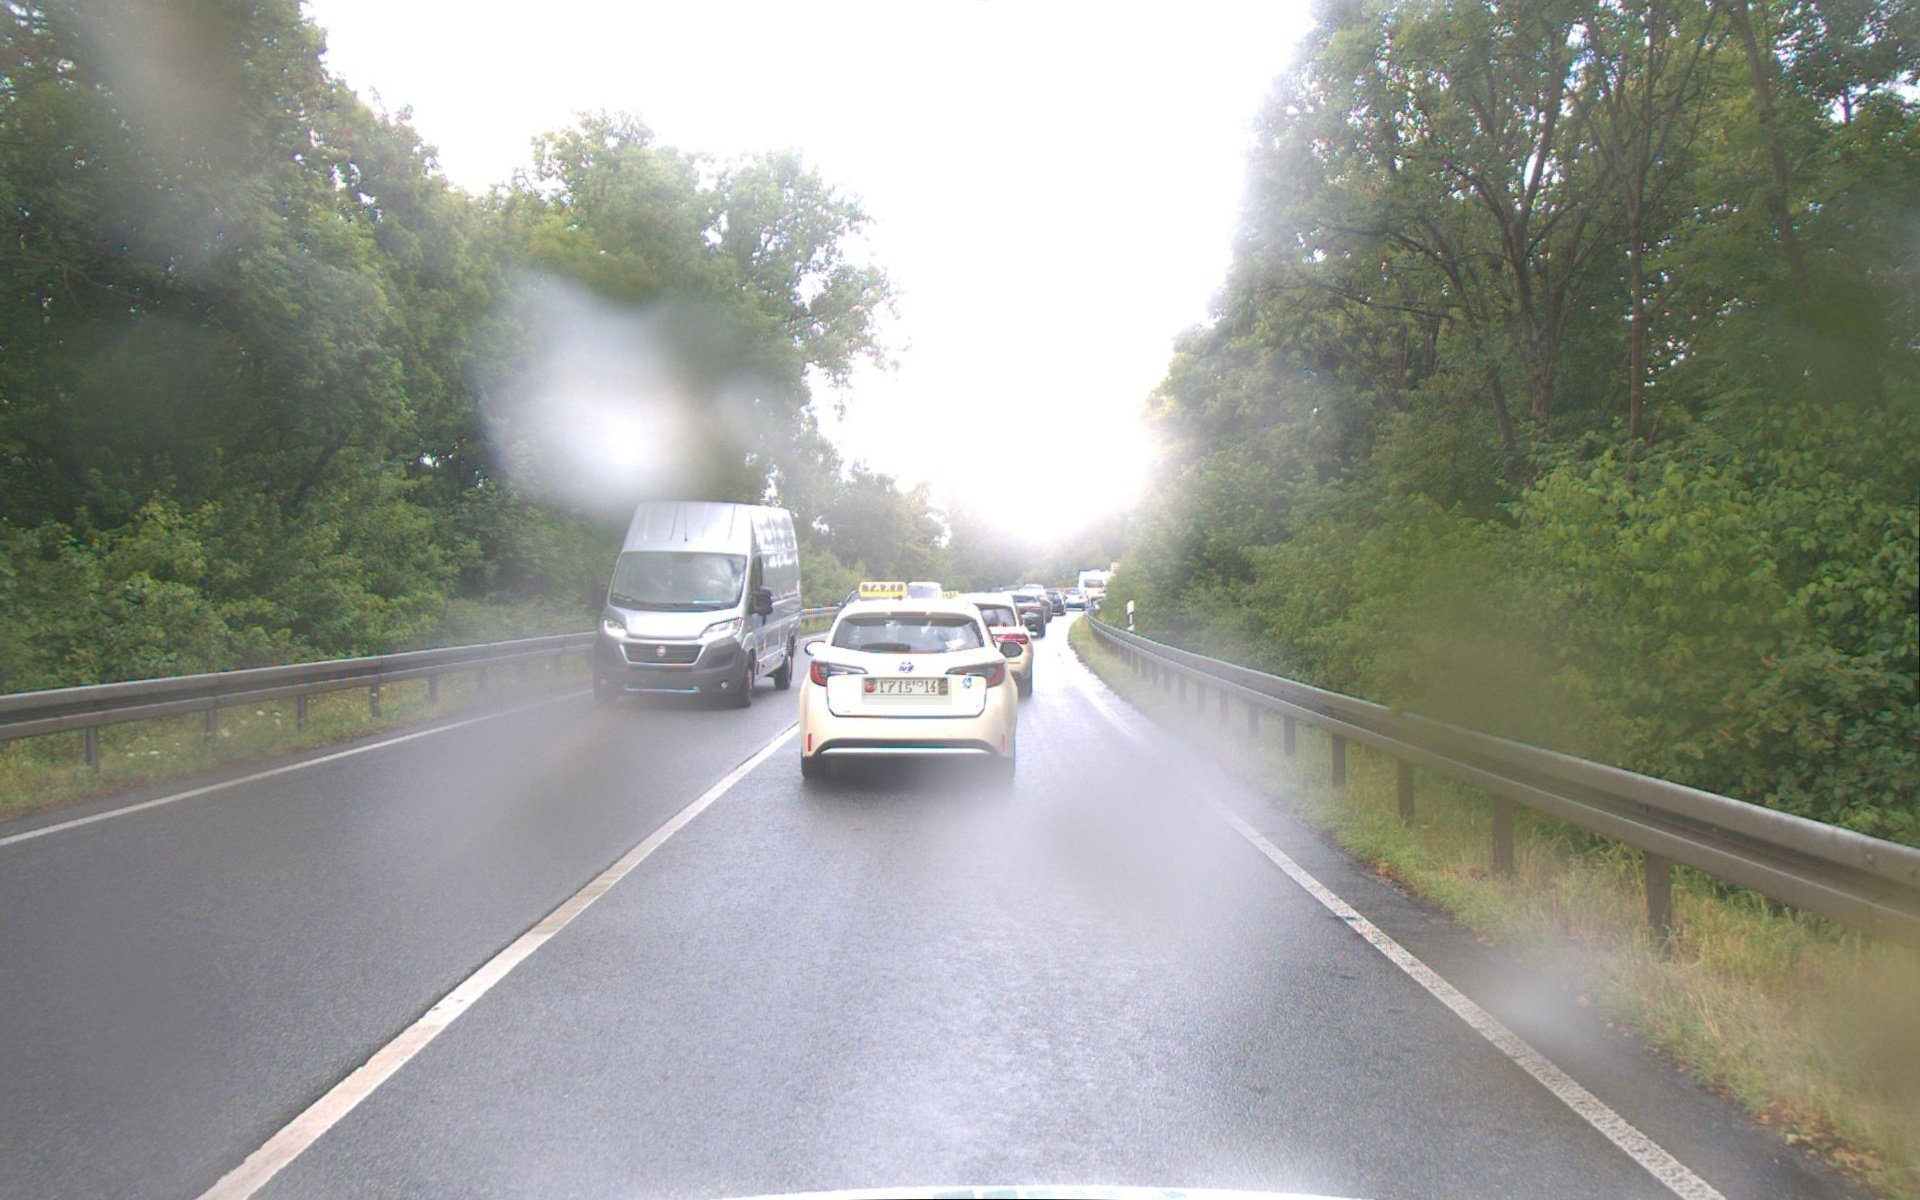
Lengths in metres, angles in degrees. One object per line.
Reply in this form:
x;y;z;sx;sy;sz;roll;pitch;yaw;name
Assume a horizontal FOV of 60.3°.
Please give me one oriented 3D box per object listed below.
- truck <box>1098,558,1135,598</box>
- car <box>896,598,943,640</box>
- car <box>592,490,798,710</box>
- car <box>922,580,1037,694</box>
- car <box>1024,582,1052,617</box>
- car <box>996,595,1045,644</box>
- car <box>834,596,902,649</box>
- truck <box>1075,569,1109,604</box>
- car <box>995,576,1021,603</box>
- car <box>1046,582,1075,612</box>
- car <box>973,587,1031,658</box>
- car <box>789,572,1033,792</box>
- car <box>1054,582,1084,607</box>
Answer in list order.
15.617;-2.126;164.735;3.041;3.745;7.006;1;-1;11;truck
-1.711;0.804;70.784;1.777;1.715;4.623;1;0;1;car
-3.604;0.021;23.698;2.006;2.723;6.170;0;0;-1;car
0.318;0.549;25.669;1.633;1.608;3.892;1;0;1;car
3.556;-0.011;75.810;1.143;1.574;2.604;1;0;1;car
2.012;0.647;55.564;1.578;1.574;3.814;0;-1;2;car
-2.657;0.639;48.379;1.692;1.456;3.850;1;0;1;car
10.774;-1.055;135.756;2.496;2.760;7.537;1;0;3;truck
3.851;-0.847;131.855;1.952;2.049;4.001;1;0;3;car
5.663;-0.153;93.125;1.582;1.641;3.623;1;0;4;car
0.951;0.510;38.489;1.274;1.574;3.260;1;0;1;car
-0.322;0.625;14.400;1.796;1.608;4.157;1;0;1;car
7.409;-0.351;112.180;1.732;1.574;3.817;1;0;7;car
